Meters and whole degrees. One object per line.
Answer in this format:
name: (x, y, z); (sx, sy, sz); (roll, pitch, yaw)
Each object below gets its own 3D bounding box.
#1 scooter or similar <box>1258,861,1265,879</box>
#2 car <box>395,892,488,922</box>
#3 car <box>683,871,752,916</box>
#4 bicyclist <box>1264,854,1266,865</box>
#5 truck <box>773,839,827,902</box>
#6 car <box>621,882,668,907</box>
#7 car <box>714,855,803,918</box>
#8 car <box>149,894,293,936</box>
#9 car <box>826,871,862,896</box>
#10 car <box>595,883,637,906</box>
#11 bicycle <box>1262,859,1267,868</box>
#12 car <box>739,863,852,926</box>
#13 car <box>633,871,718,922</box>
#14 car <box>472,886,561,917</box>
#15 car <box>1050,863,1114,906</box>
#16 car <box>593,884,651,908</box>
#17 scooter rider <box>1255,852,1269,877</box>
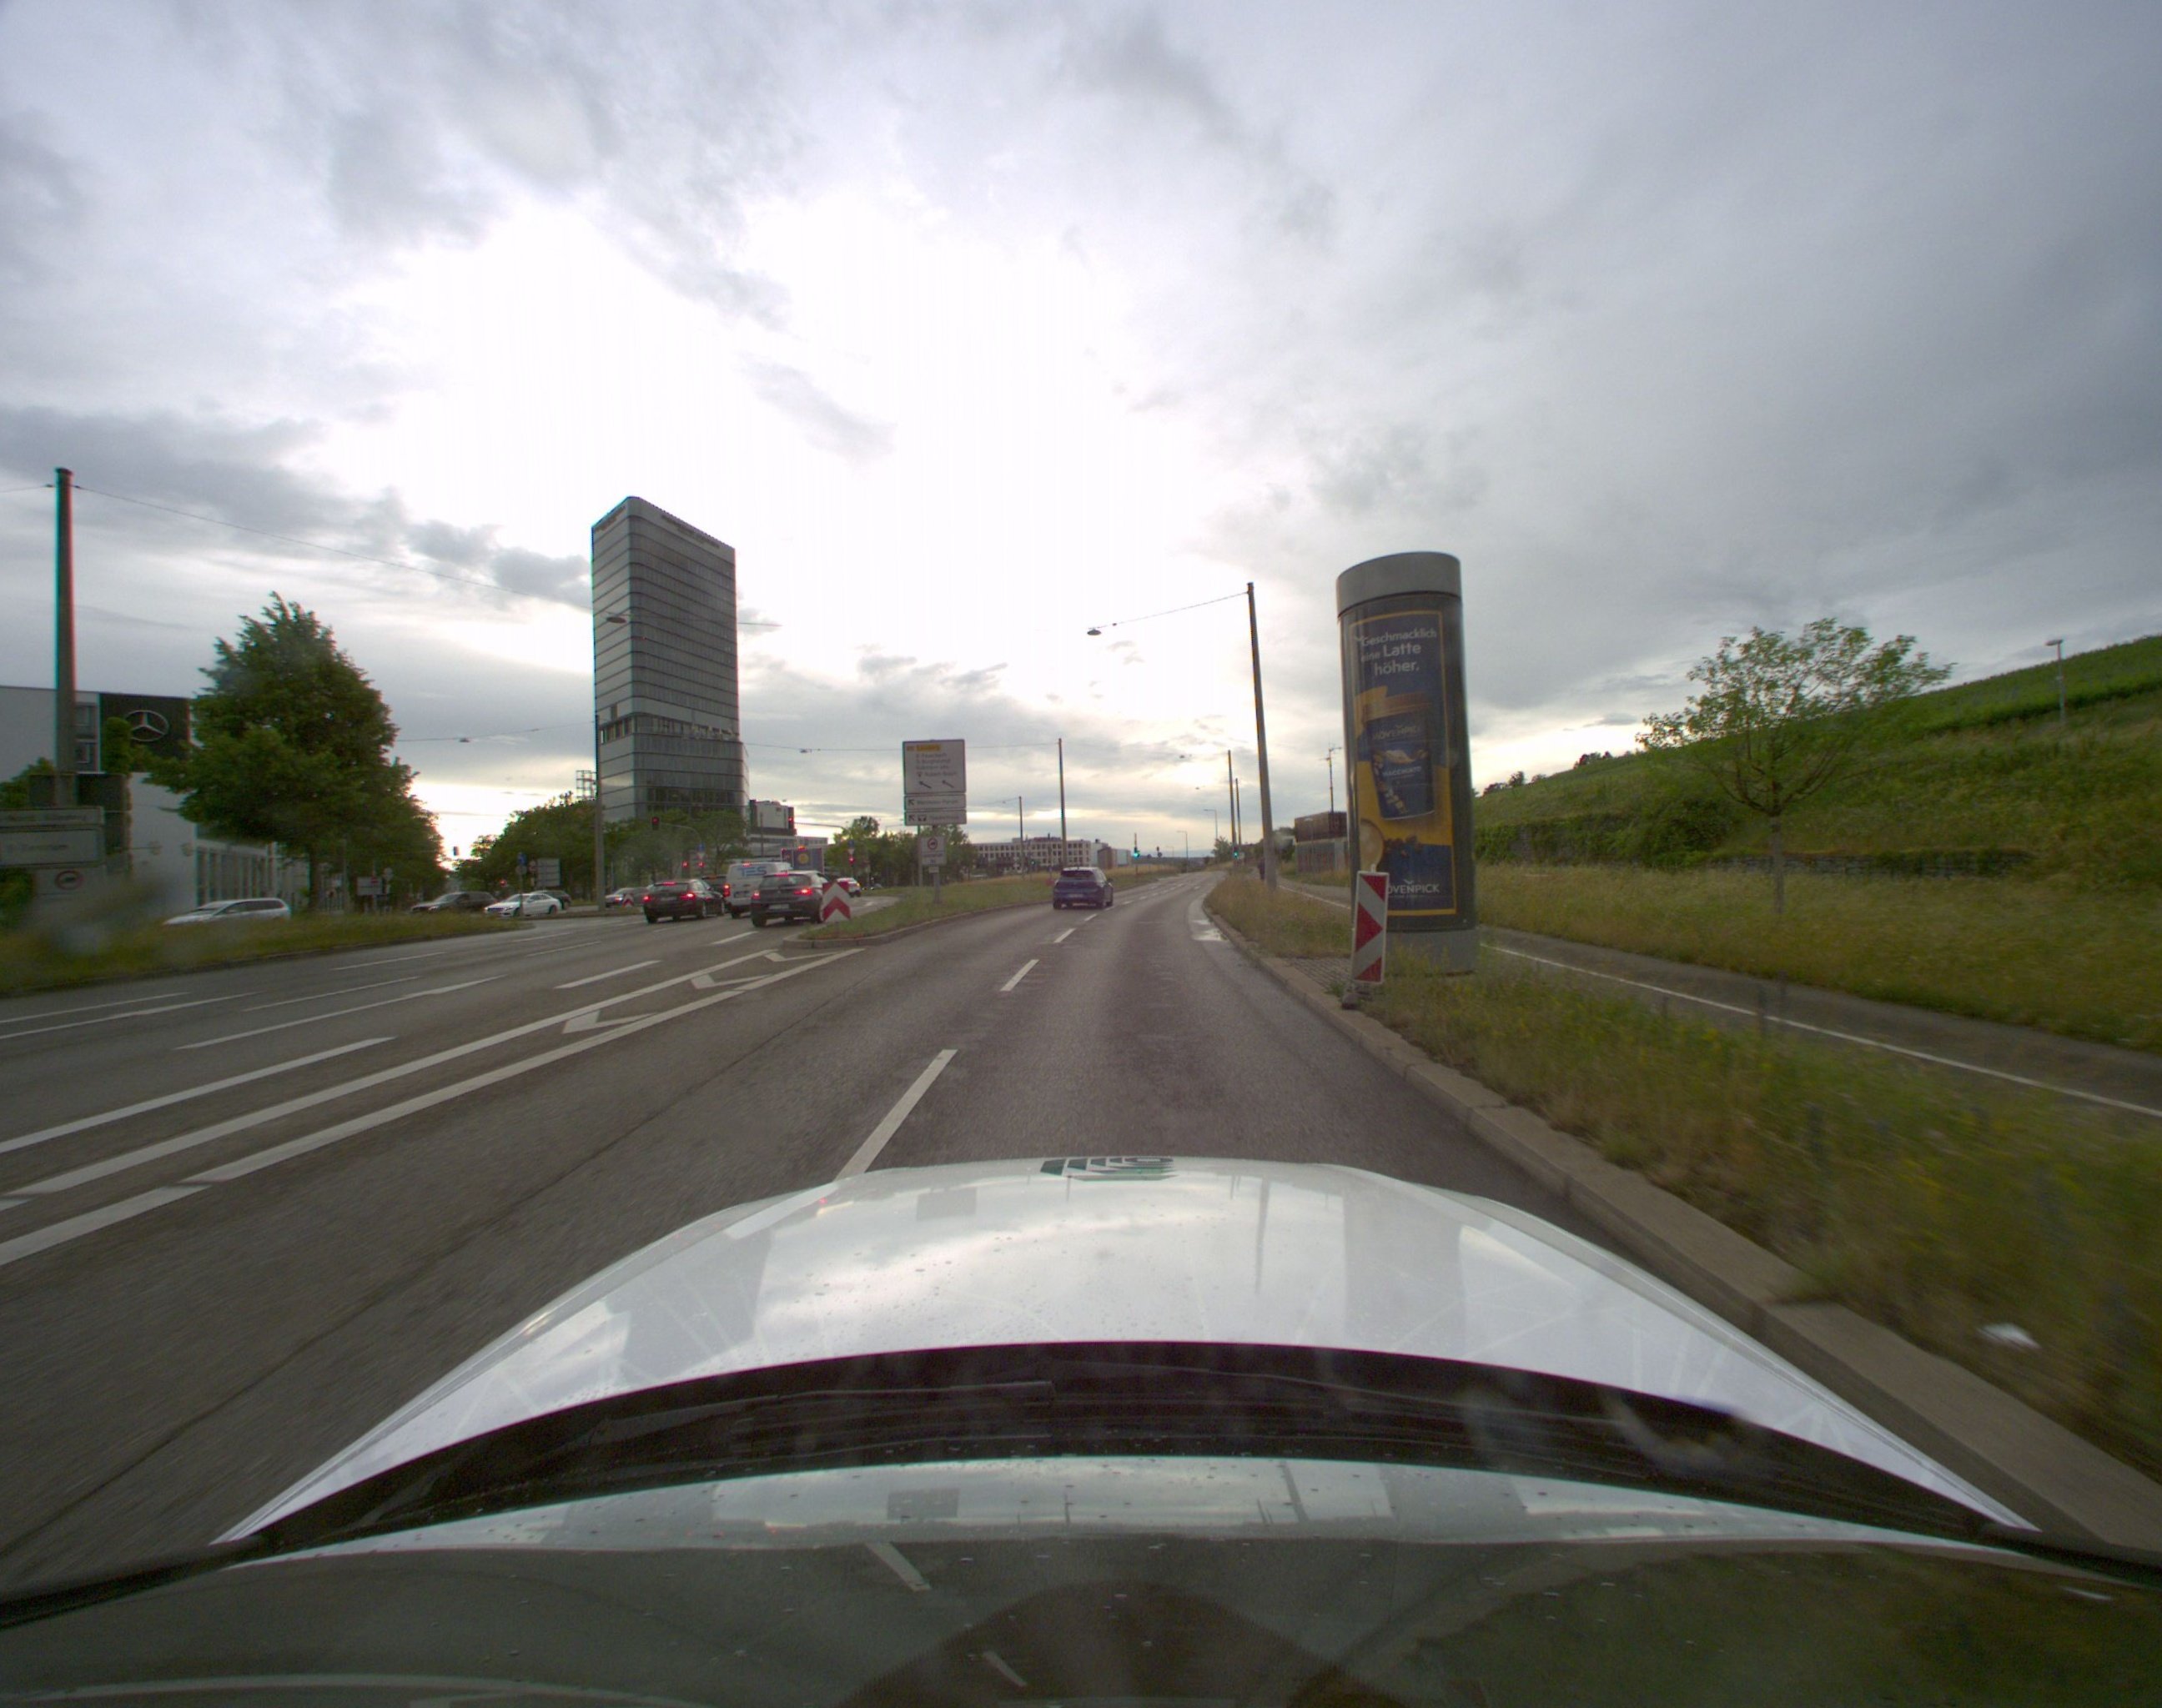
scooter or similar: (12.051, 1.081, 54.451); (0.398, 1.196, 1.117); (0, 0, 10)
car: (-38.291, 3.163, 48.919); (1.924, 1.484, 4.579); (-2, -1, 0)
car: (-15.567, 1.658, 35.081); (1.839, 1.681, 4.056); (1, 0, -12)
bicyclist: (21.231, 0.631, 94.051); (0.263, 1.196, 0.316); (-1, -1, 13)
truck: (-15.809, 0.888, 45.721); (2.675, 3.220, 6.504); (-1, -1, -20)
car: (-37.248, 3.431, 69.576); (1.756, 1.838, 3.760); (-2, 0, 3)
car: (-11.530, 1.121, 29.455); (1.904, 1.973, 5.074); (-3, -1, -10)
car: (-41.891, 2.930, 39.867); (1.987, 1.671, 4.743); (-1, 0, -1)
car: (-17.438, 2.191, 59.742); (1.928, 1.644, 4.355); (-1, -3, -24)
car: (-41.937, 3.596, 73.545); (1.590, 1.815, 3.538); (-2, 1, 3)
bicycle: (21.235, 1.078, 94.028); (0.547, 1.068, 0.617); (-1, -1, 13)
car: (-7.763, 1.037, 22.557); (1.865, 1.461, 3.971); (-2, 0, -3)
car: (-14.282, 1.455, 28.896); (1.908, 1.563, 3.978); (-3, -1, -16)
car: (-33.909, 2.820, 49.087); (1.884, 1.658, 4.611); (-2, -1, 5)
car: (0.114, 1.148, 29.462); (1.828, 1.394, 4.006); (-2, -4, 7)
car: (-35.224, 3.220, 62.645); (1.817, 1.657, 3.923); (-2, -1, 9)
scooter rider: (12.146, 0.725, 54.665); (0.801, 1.628, 0.831); (-3, -1, 10)
